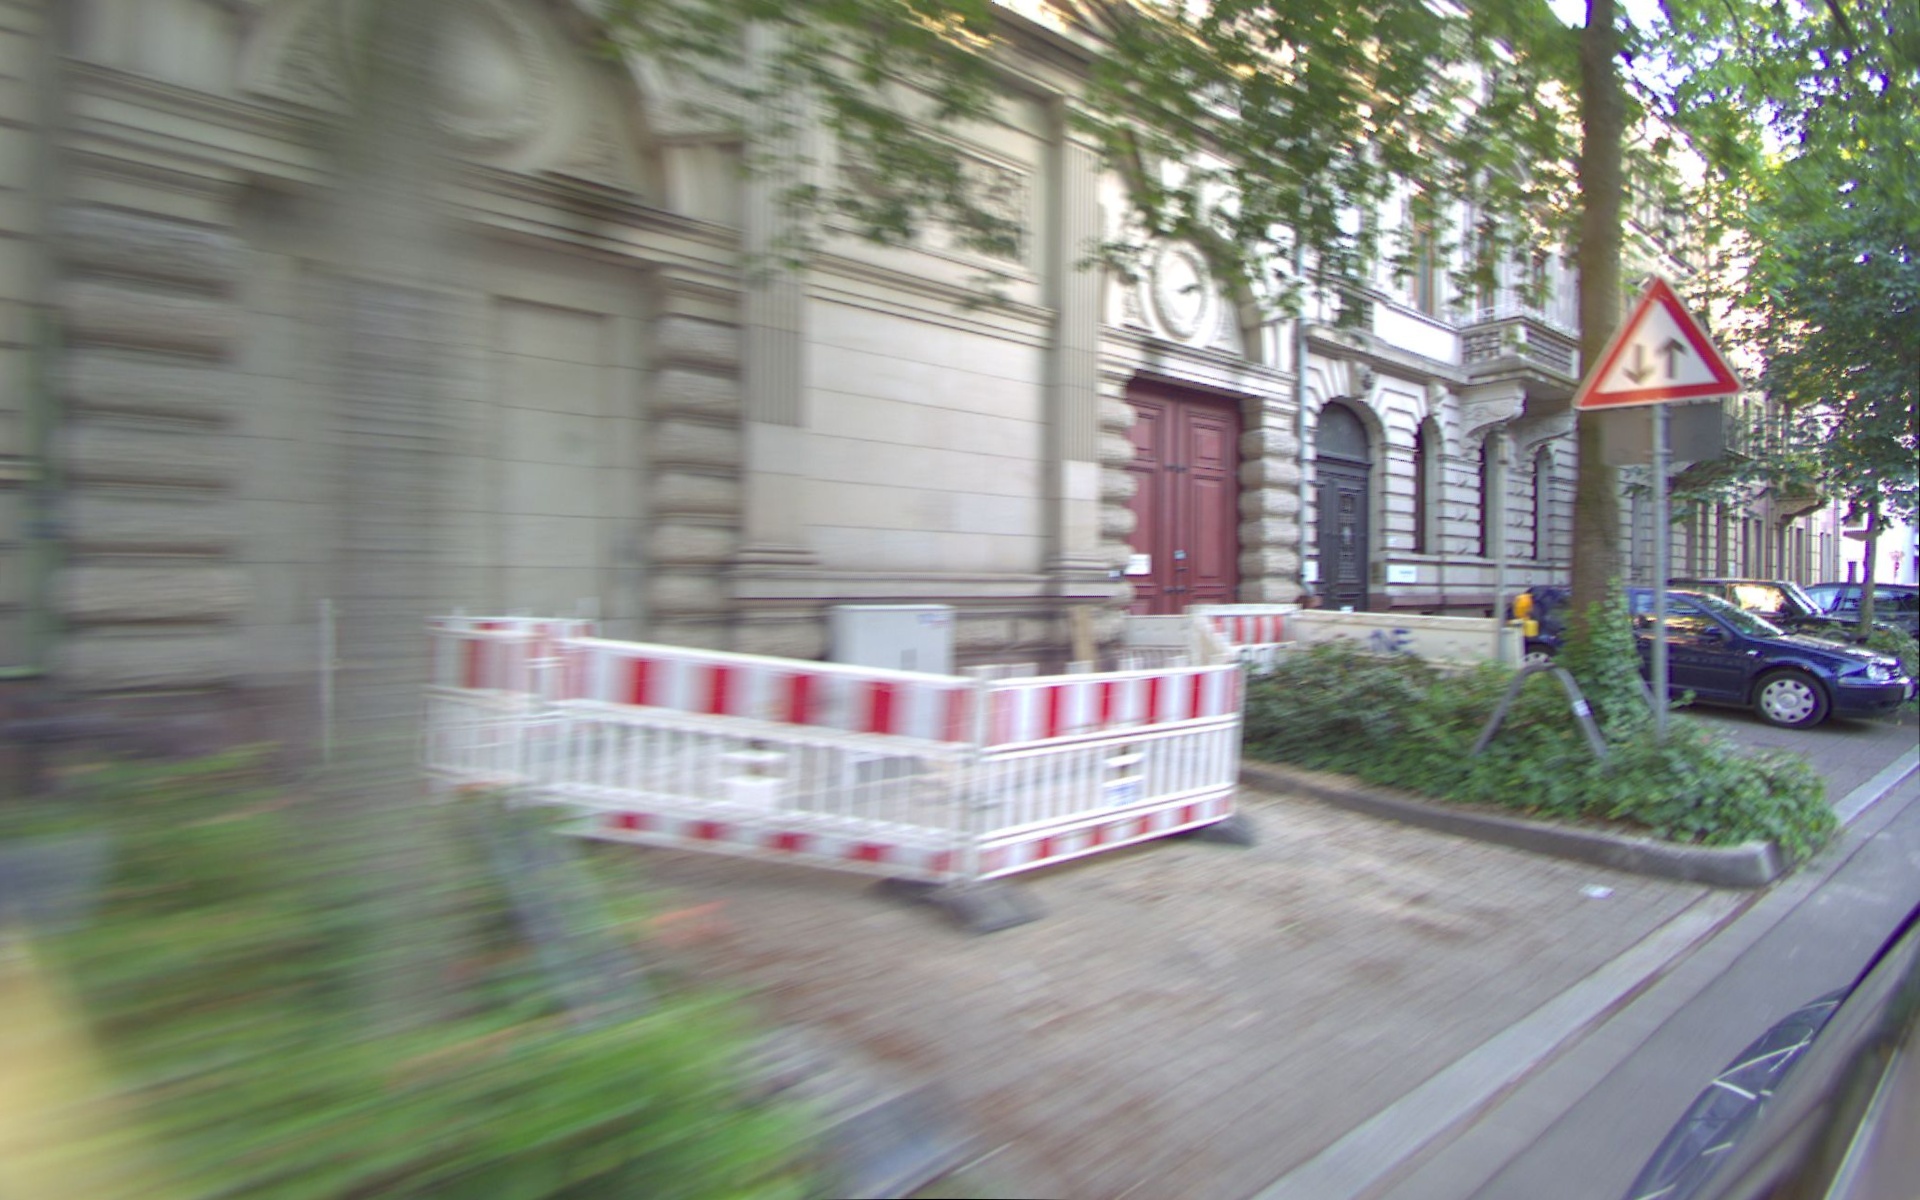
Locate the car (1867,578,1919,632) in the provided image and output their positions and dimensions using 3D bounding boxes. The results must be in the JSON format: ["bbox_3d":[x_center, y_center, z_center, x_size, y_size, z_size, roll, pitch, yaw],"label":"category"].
[{"bbox_3d":[28.198,0.223,28.373,1.750,1.445,3.874,0,4,-41],"label":"car"}]

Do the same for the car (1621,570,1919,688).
[{"bbox_3d":[13.432,0.378,16.602,1.733,1.708,4.016,0,1,-39],"label":"car"}]

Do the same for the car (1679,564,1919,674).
[{"bbox_3d":[15.592,0.259,17.801,1.933,1.738,4.450,-1,3,-39],"label":"car"}]

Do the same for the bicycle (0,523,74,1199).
[{"bbox_3d":[-1.775,0.626,1.643,0.499,1.378,2.049,0,-1,-41],"label":"bicycle"}]

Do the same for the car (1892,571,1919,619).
[{"bbox_3d":[33.697,-0.038,33.050,1.829,1.580,4.432,1,3,-32],"label":"car"}]

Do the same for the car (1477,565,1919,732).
[{"bbox_3d":[8.771,0.407,12.081,1.822,1.499,4.235,-1,4,-39],"label":"car"}]
